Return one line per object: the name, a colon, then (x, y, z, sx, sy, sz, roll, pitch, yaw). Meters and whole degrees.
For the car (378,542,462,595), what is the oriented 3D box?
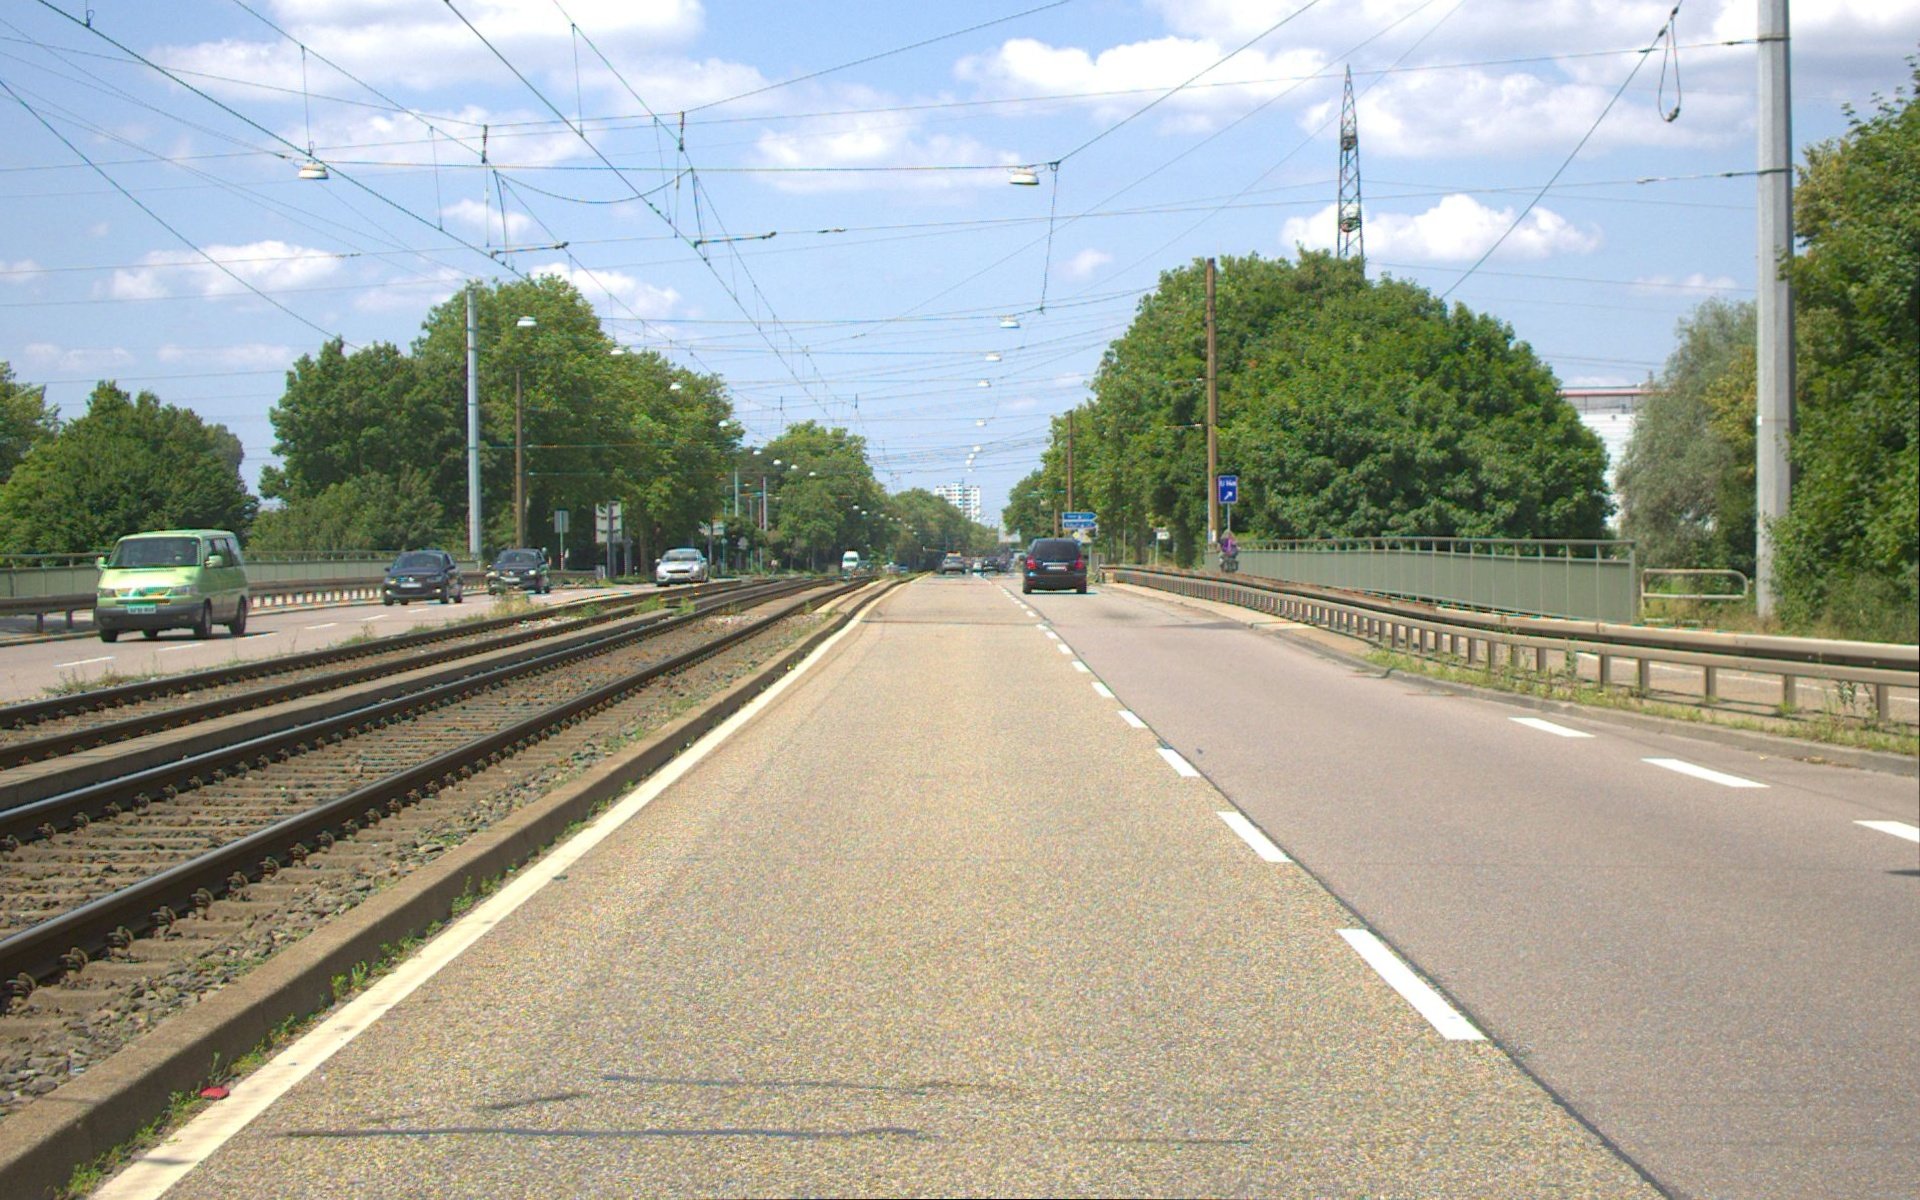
car: (-14.274, -0.846, 90.967, 1.563, 1.343, 3.929, -1, 1, 0)

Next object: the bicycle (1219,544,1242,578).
bicycle: (8.151, -1.167, 103.664, 0.559, 1.021, 1.848, -1, 0, 0)

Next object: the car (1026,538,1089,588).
car: (2.732, -1.049, 96.962, 1.586, 1.338, 3.273, -1, 1, -1)

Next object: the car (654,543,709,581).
car: (-10.768, -1.468, 133.061, 1.711, 1.415, 4.624, -1, 1, 0)

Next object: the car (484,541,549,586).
car: (-14.189, -1.169, 110.193, 1.574, 1.395, 3.938, -1, 1, 0)

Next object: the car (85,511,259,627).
car: (-13.802, -0.559, 60.498, 1.811, 1.918, 5.179, -1, 1, 0)

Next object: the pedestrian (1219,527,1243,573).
pedestrian: (8.156, -1.517, 103.611, 0.628, 1.369, 1.050, -1, 0, 0)
